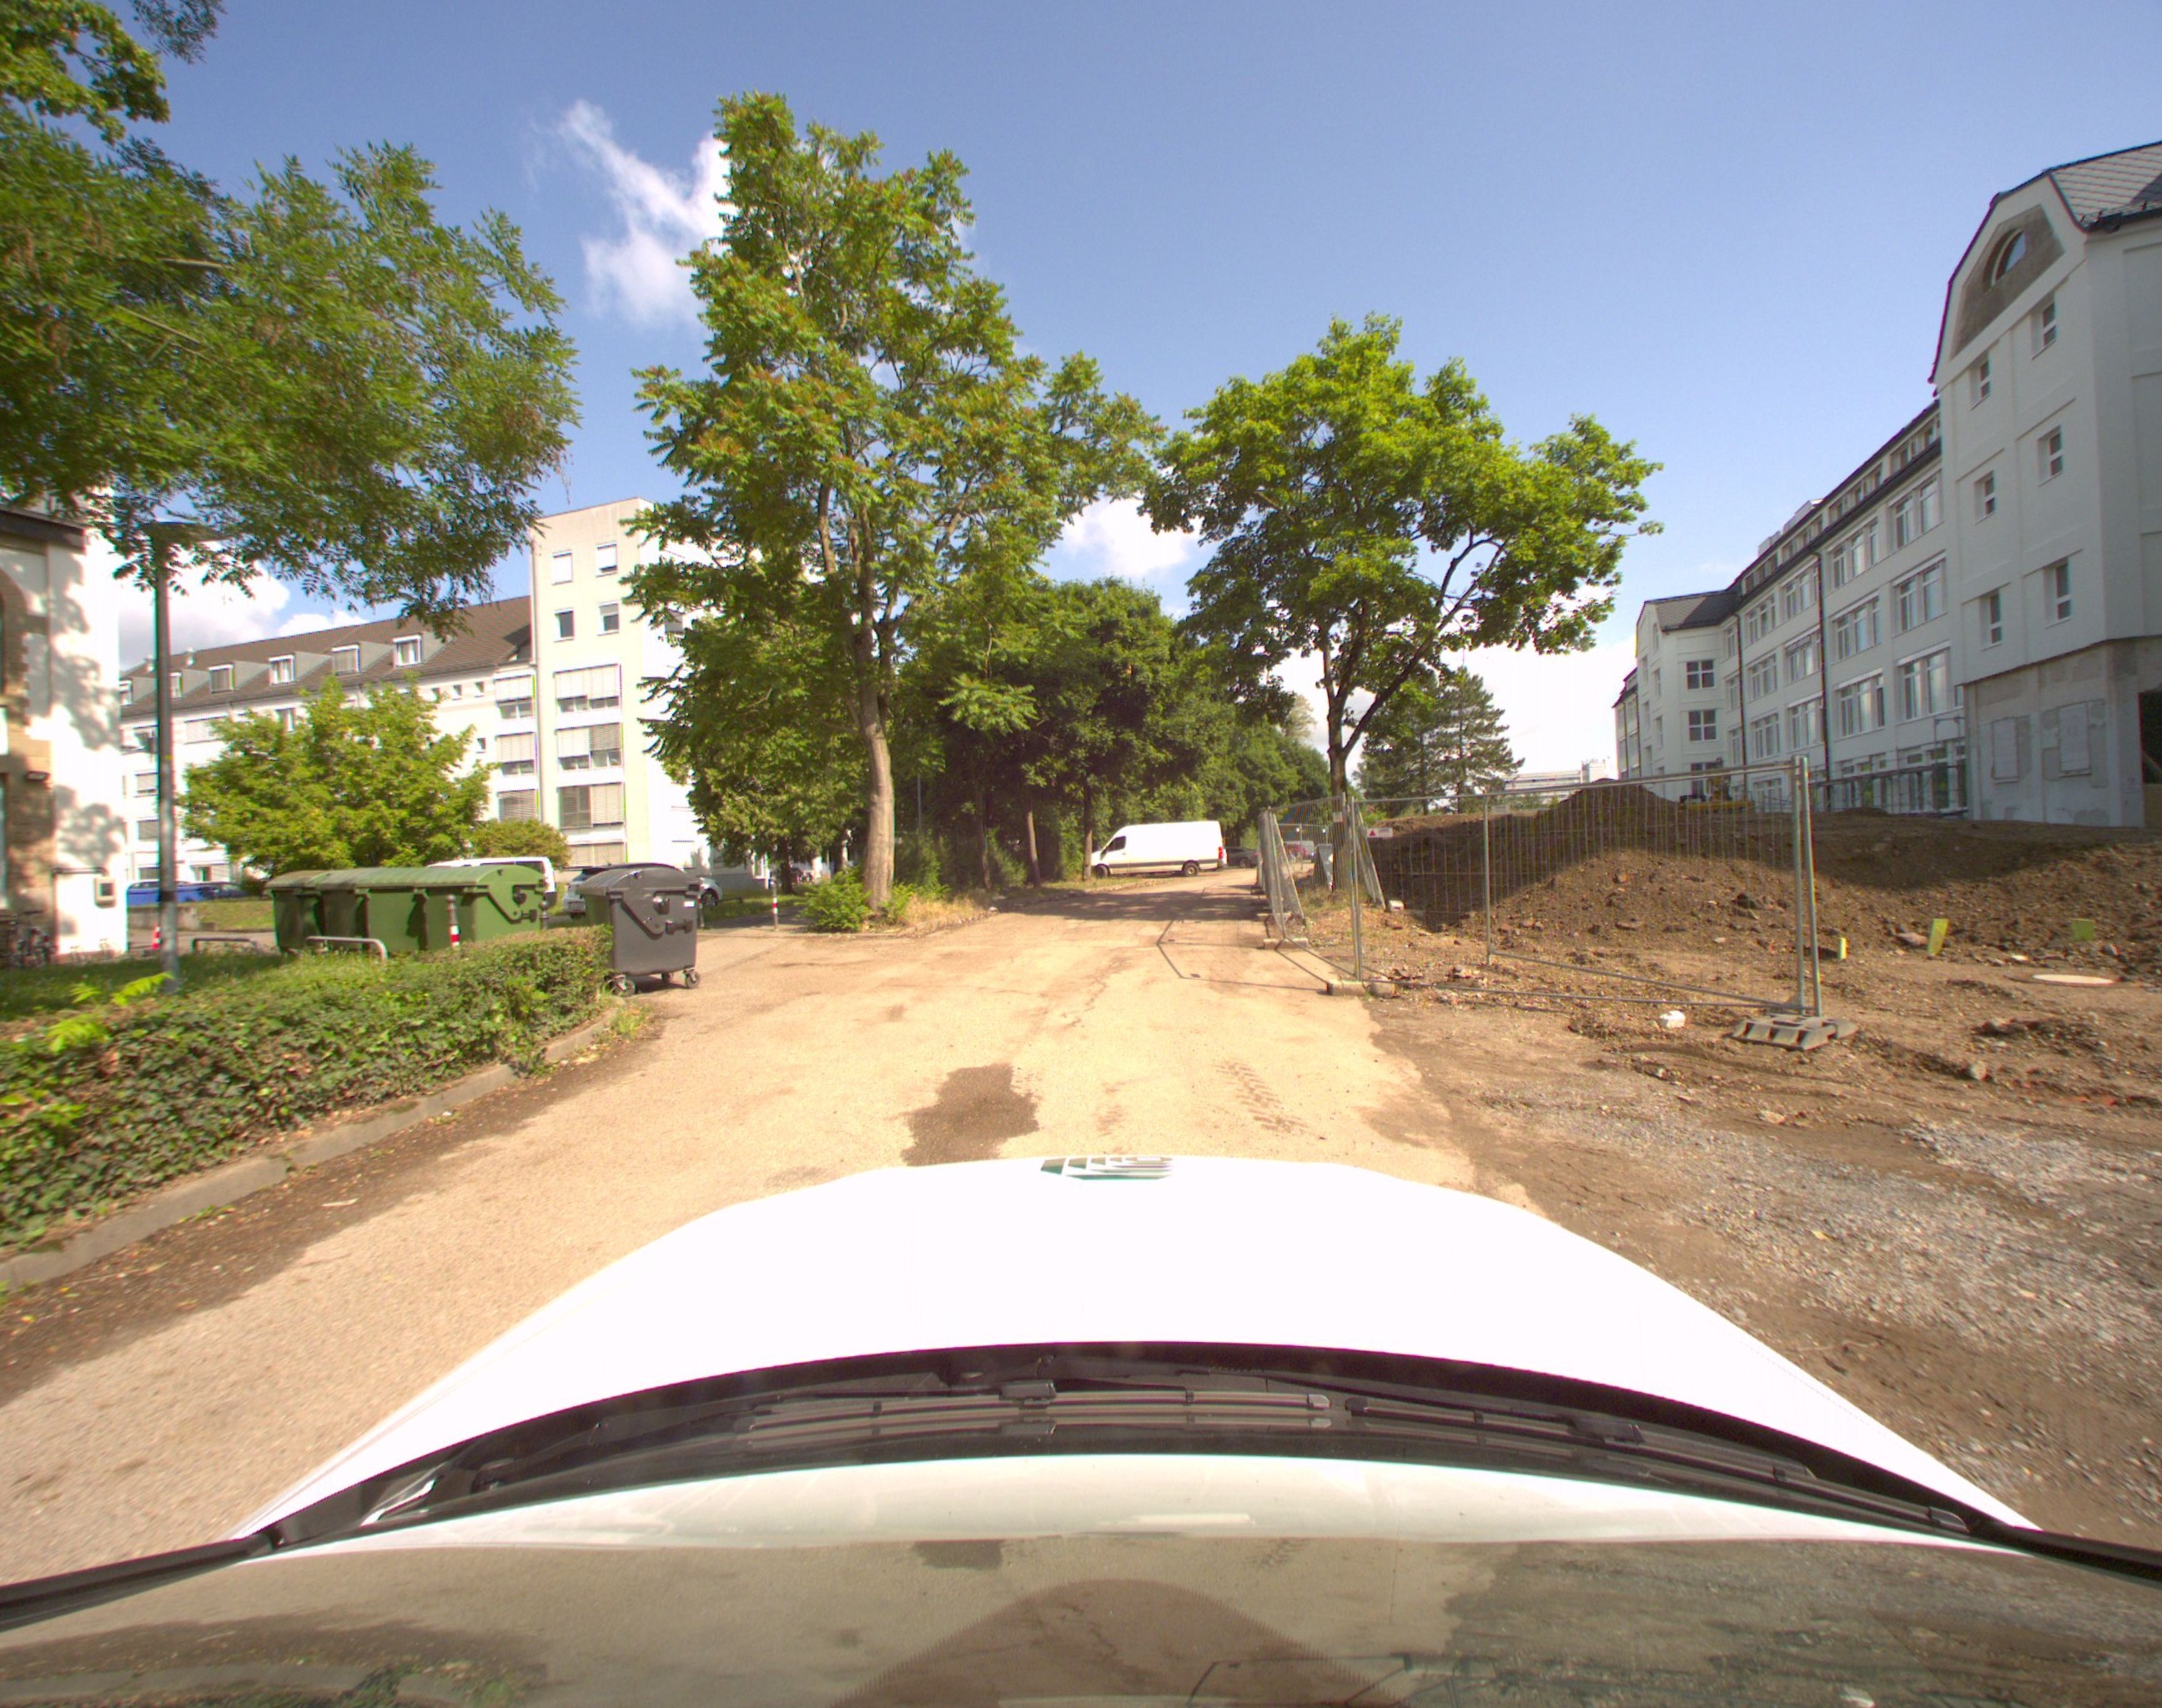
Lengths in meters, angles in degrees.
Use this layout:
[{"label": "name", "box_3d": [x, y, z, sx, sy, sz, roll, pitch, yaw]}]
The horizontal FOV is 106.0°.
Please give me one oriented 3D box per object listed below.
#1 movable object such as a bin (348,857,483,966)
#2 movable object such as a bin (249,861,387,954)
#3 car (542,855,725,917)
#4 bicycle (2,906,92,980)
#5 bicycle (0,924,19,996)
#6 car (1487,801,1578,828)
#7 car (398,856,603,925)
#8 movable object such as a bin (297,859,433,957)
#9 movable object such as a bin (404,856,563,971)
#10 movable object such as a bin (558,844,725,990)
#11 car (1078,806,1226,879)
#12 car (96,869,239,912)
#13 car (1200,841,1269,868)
[{"label": "movable object such as a bin", "box_3d": [-9.648, 0.815, 11.831, 1.220, 1.452, 0.884, 3, -2, 17]}, {"label": "movable object such as a bin", "box_3d": [-12.188, 0.840, 13.034, 1.366, 1.349, 0.950, 3, -2, 17]}, {"label": "car", "box_3d": [-11.598, 0.786, 21.423, 1.738, 1.420, 3.938, 2, 0, 23]}, {"label": "bicycle", "box_3d": [-16.698, 1.415, 13.144, 1.837, 1.037, 0.322, 2, -3, 22]}, {"label": "bicycle", "box_3d": [-16.900, 1.569, 12.409, 1.837, 1.037, 0.322, 2, -3, 22]}, {"label": "car", "box_3d": [27.968, -2.459, 50.654, 4.809, 1.428, 1.855, 2, -2, 25]}, {"label": "car", "box_3d": [-18.401, 1.112, 26.152, 1.975, 1.965, 4.983, 0, -2, 25]}, {"label": "movable object such as a bin", "box_3d": [-10.837, 0.803, 12.361, 1.220, 1.349, 0.950, 3, -2, 17]}, {"label": "movable object such as a bin", "box_3d": [-8.343, 0.805, 11.416, 1.329, 1.452, 1.107, 3, -2, 16]}, {"label": "movable object such as a bin", "box_3d": [-5.154, 0.710, 9.562, 1.280, 1.482, 1.257, 5, -1, 43]}, {"label": "car", "box_3d": [3.495, -0.565, 39.947, 6.914, 3.047, 2.004, 4, -1, 7]}, {"label": "car", "box_3d": [-43.168, 1.694, 38.620, 1.927, 1.745, 4.019, -2, 0, 19]}, {"label": "car", "box_3d": [9.780, 0.016, 51.797, 3.954, 1.428, 1.854, 3, -2, 21]}]
